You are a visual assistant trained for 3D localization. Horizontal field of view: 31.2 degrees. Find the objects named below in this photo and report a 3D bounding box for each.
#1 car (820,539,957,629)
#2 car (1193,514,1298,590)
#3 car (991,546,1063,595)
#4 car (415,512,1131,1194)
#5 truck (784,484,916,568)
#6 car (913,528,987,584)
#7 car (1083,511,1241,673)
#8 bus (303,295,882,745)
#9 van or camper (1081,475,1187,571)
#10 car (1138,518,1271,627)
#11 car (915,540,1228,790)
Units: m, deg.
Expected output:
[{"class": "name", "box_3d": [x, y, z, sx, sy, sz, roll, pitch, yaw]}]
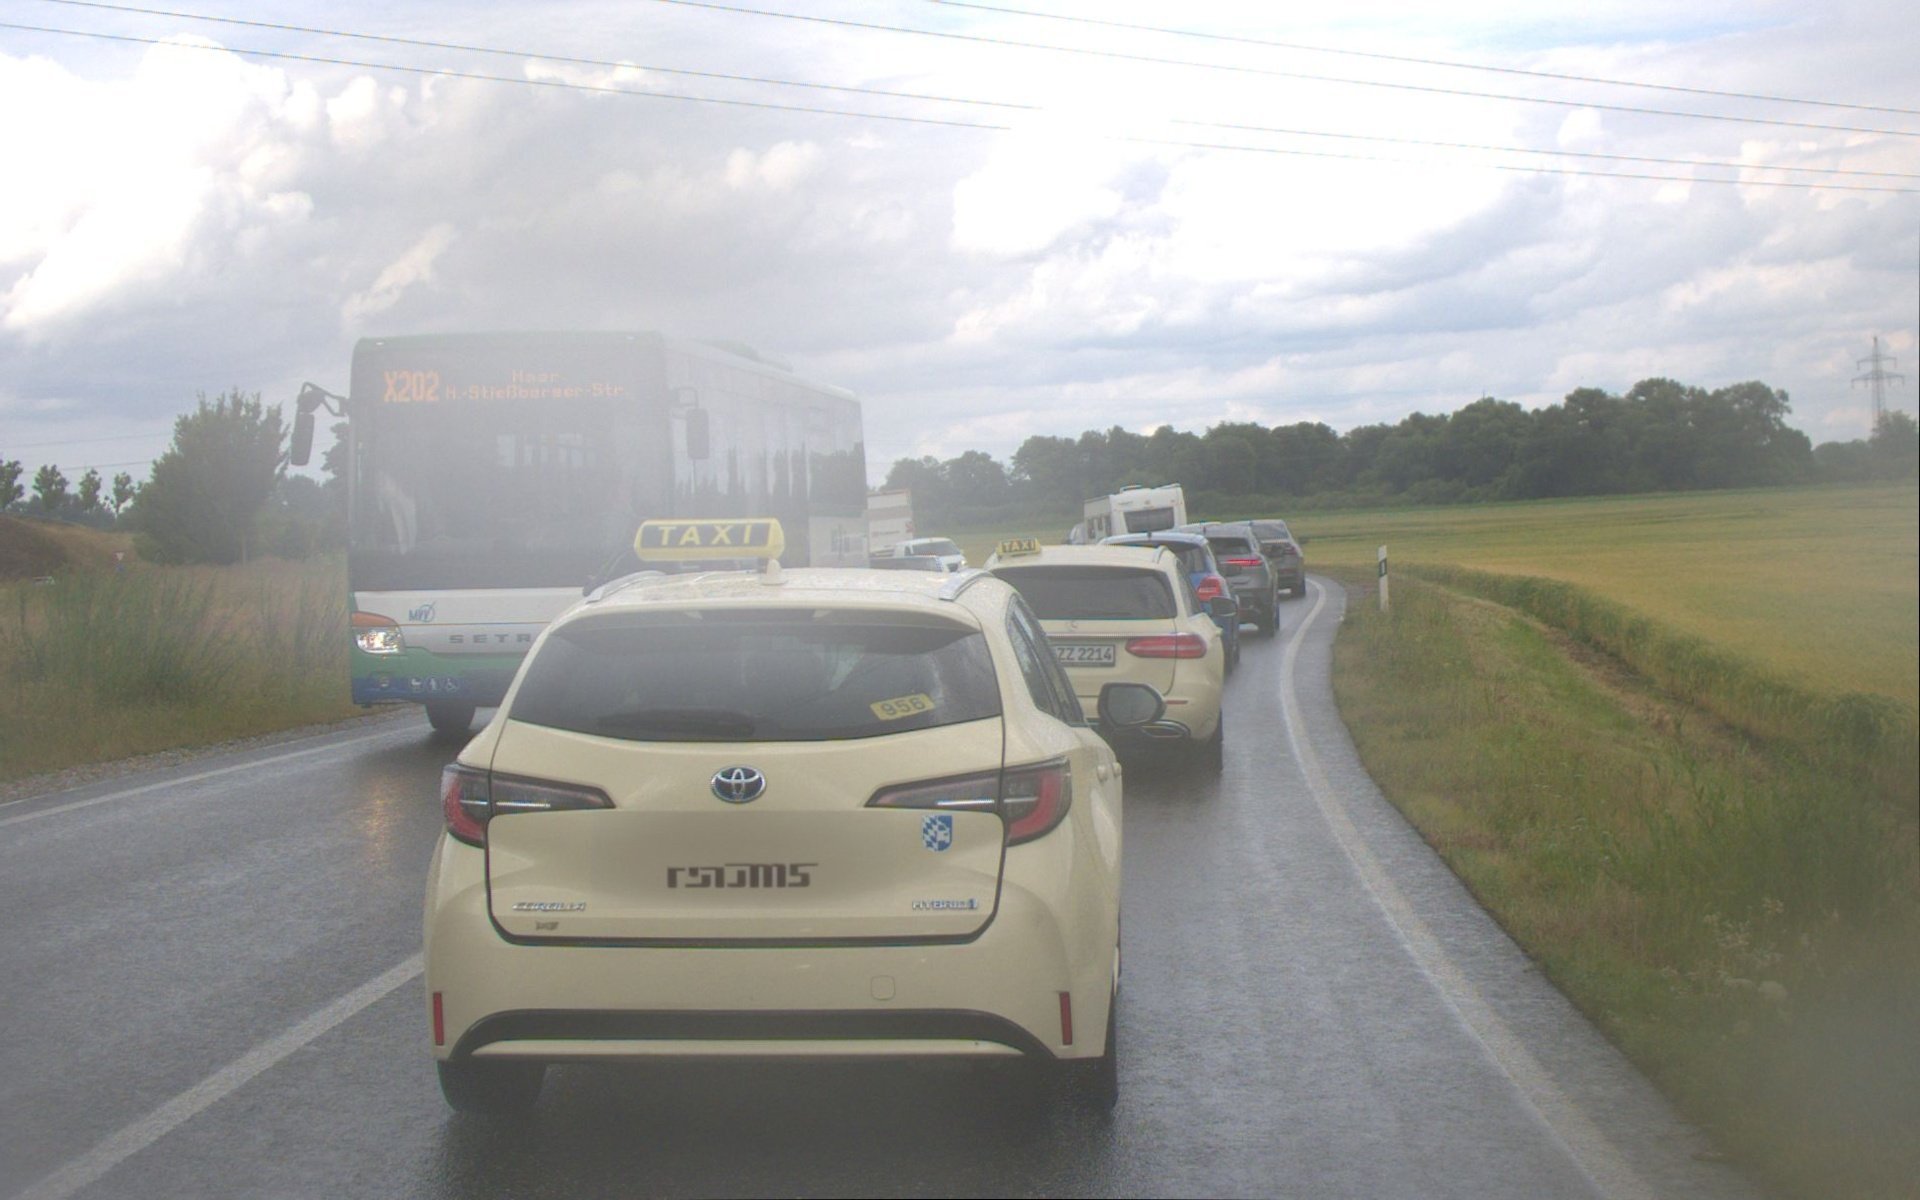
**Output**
[{"class": "car", "box_3d": [-1.004, -0.219, 50.017, 1.719, 1.247, 4.000, 0, 0, 3]}, {"class": "car", "box_3d": [5.537, -0.906, 66.431, 1.960, 1.408, 4.391, 0, 0, 5]}, {"class": "car", "box_3d": [1.928, -0.872, 100.376, 1.844, 1.383, 4.287, 0, 1, -3]}, {"class": "car", "box_3d": [-0.342, 0.580, 9.770, 1.613, 1.557, 3.738, 0, 0, 3]}, {"class": "truck", "box_3d": [-4.529, -2.971, 139.987, 3.012, 3.198, 8.235, 0, 0, -20]}, {"class": "car", "box_3d": [-0.360, -1.470, 115.812, 1.844, 1.849, 4.448, 0, 1, -8]}, {"class": "car", "box_3d": [2.200, -0.082, 37.092, 1.613, 1.653, 3.738, 0, 0, 4]}, {"class": "bus", "box_3d": [-2.848, -0.694, 31.461, 2.758, 3.286, 12.500, 0, 1, 6]}, {"class": "van or camper", "box_3d": [5.388, -2.397, 107.412, 2.536, 2.886, 6.744, 0, 1, -4]}, {"class": "car", "box_3d": [3.357, -0.355, 46.668, 1.613, 1.408, 3.737, 0, 0, 7]}, {"class": "car", "box_3d": [0.841, 0.347, 22.906, 1.841, 1.487, 4.607, 0, 1, 5]}]
